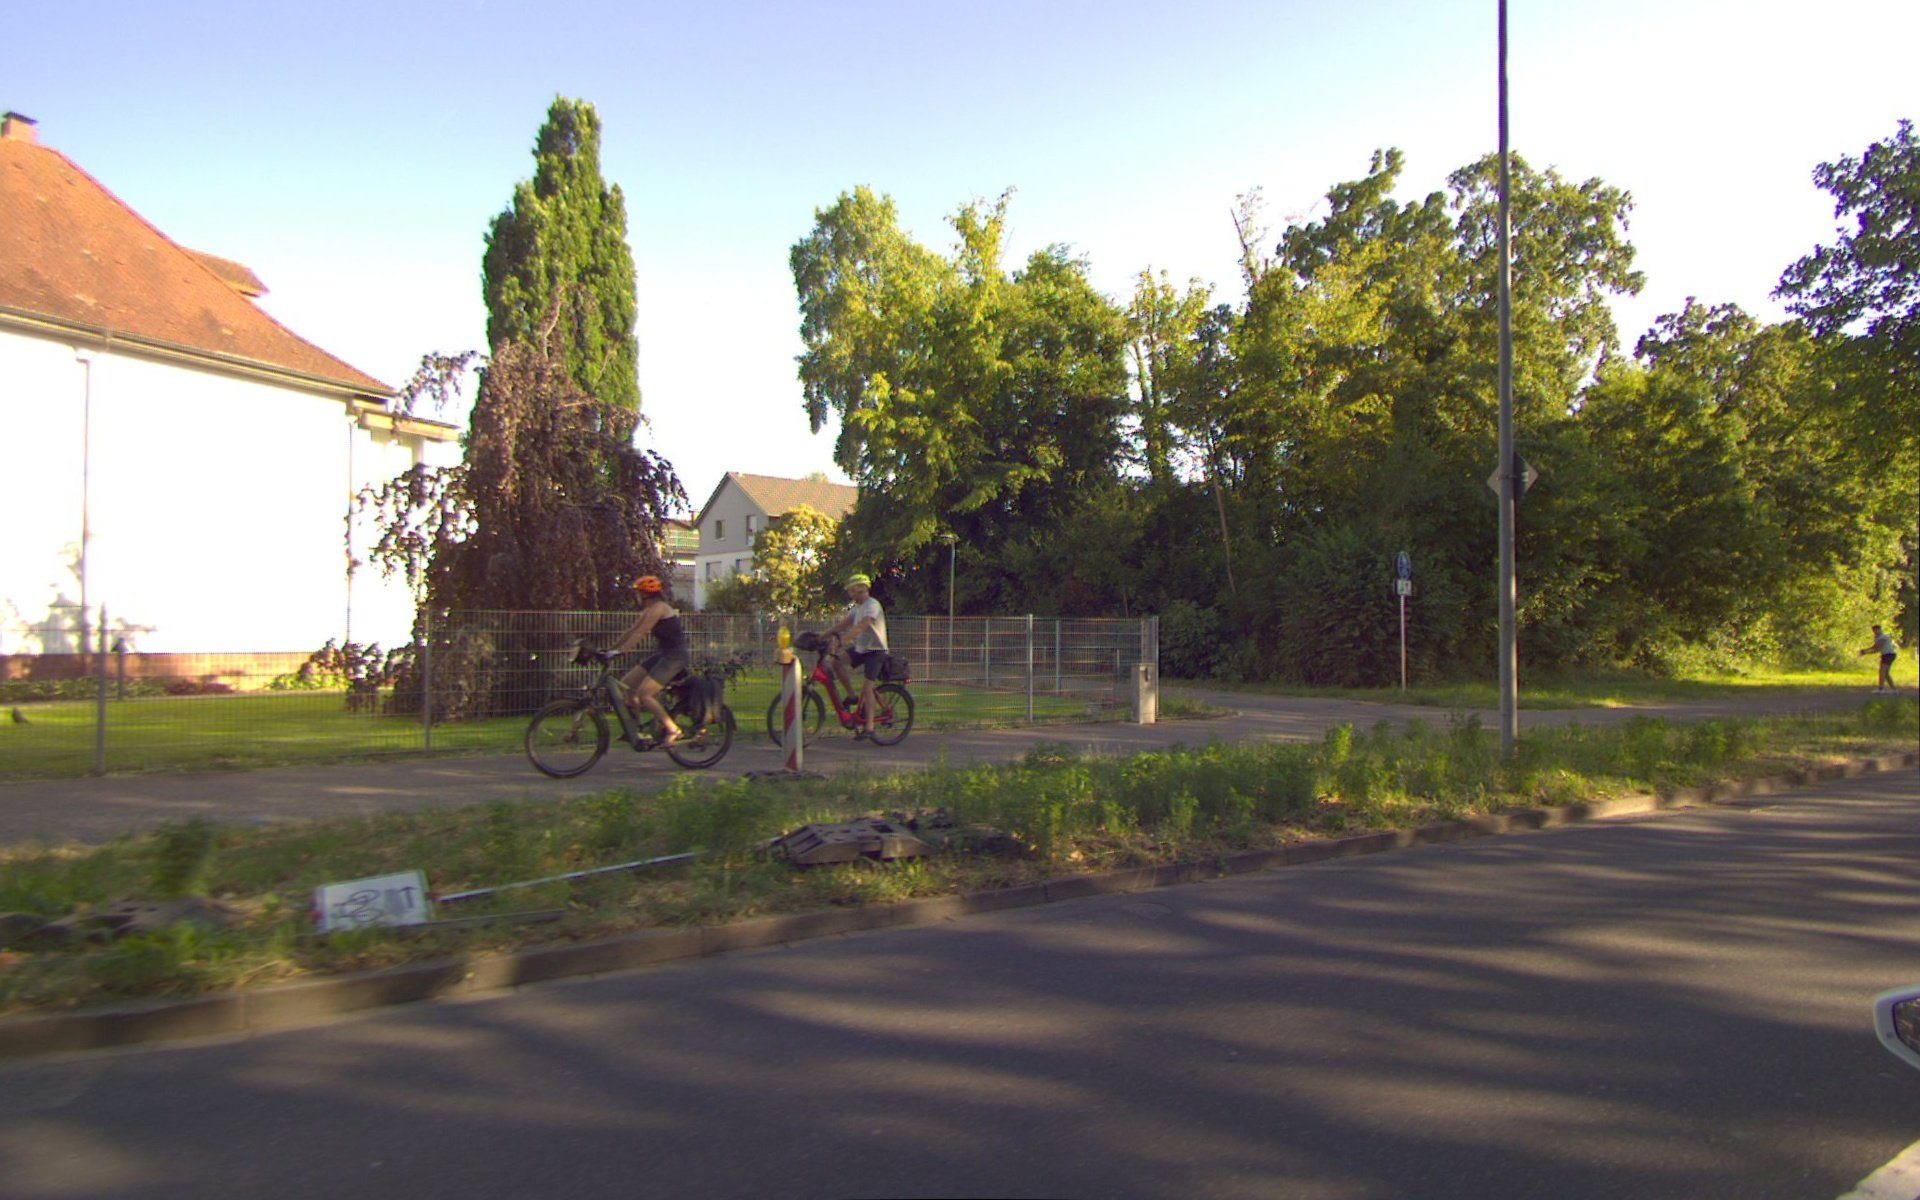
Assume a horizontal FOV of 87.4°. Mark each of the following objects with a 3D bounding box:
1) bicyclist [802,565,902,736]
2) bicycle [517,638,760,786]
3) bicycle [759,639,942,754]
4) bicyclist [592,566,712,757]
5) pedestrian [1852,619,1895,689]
[{"bbox_3d":[-1.224,0.562,11.426,0.957,1.856,0.576,1,0,-31],"label":"bicyclist"},{"bbox_3d":[-2.969,0.986,9.383,2.083,1.262,0.576,1,-2,-31],"label":"bicycle"},{"bbox_3d":[-1.220,1.058,11.431,2.009,1.202,0.576,1,-1,-31],"label":"bicycle"},{"bbox_3d":[-2.900,0.560,9.465,0.959,1.701,0.576,1,-2,-31],"label":"bicyclist"},{"bbox_3d":[23.391,1.371,25.727,0.627,1.762,0.659,1,-1,-30],"label":"pedestrian"}]
